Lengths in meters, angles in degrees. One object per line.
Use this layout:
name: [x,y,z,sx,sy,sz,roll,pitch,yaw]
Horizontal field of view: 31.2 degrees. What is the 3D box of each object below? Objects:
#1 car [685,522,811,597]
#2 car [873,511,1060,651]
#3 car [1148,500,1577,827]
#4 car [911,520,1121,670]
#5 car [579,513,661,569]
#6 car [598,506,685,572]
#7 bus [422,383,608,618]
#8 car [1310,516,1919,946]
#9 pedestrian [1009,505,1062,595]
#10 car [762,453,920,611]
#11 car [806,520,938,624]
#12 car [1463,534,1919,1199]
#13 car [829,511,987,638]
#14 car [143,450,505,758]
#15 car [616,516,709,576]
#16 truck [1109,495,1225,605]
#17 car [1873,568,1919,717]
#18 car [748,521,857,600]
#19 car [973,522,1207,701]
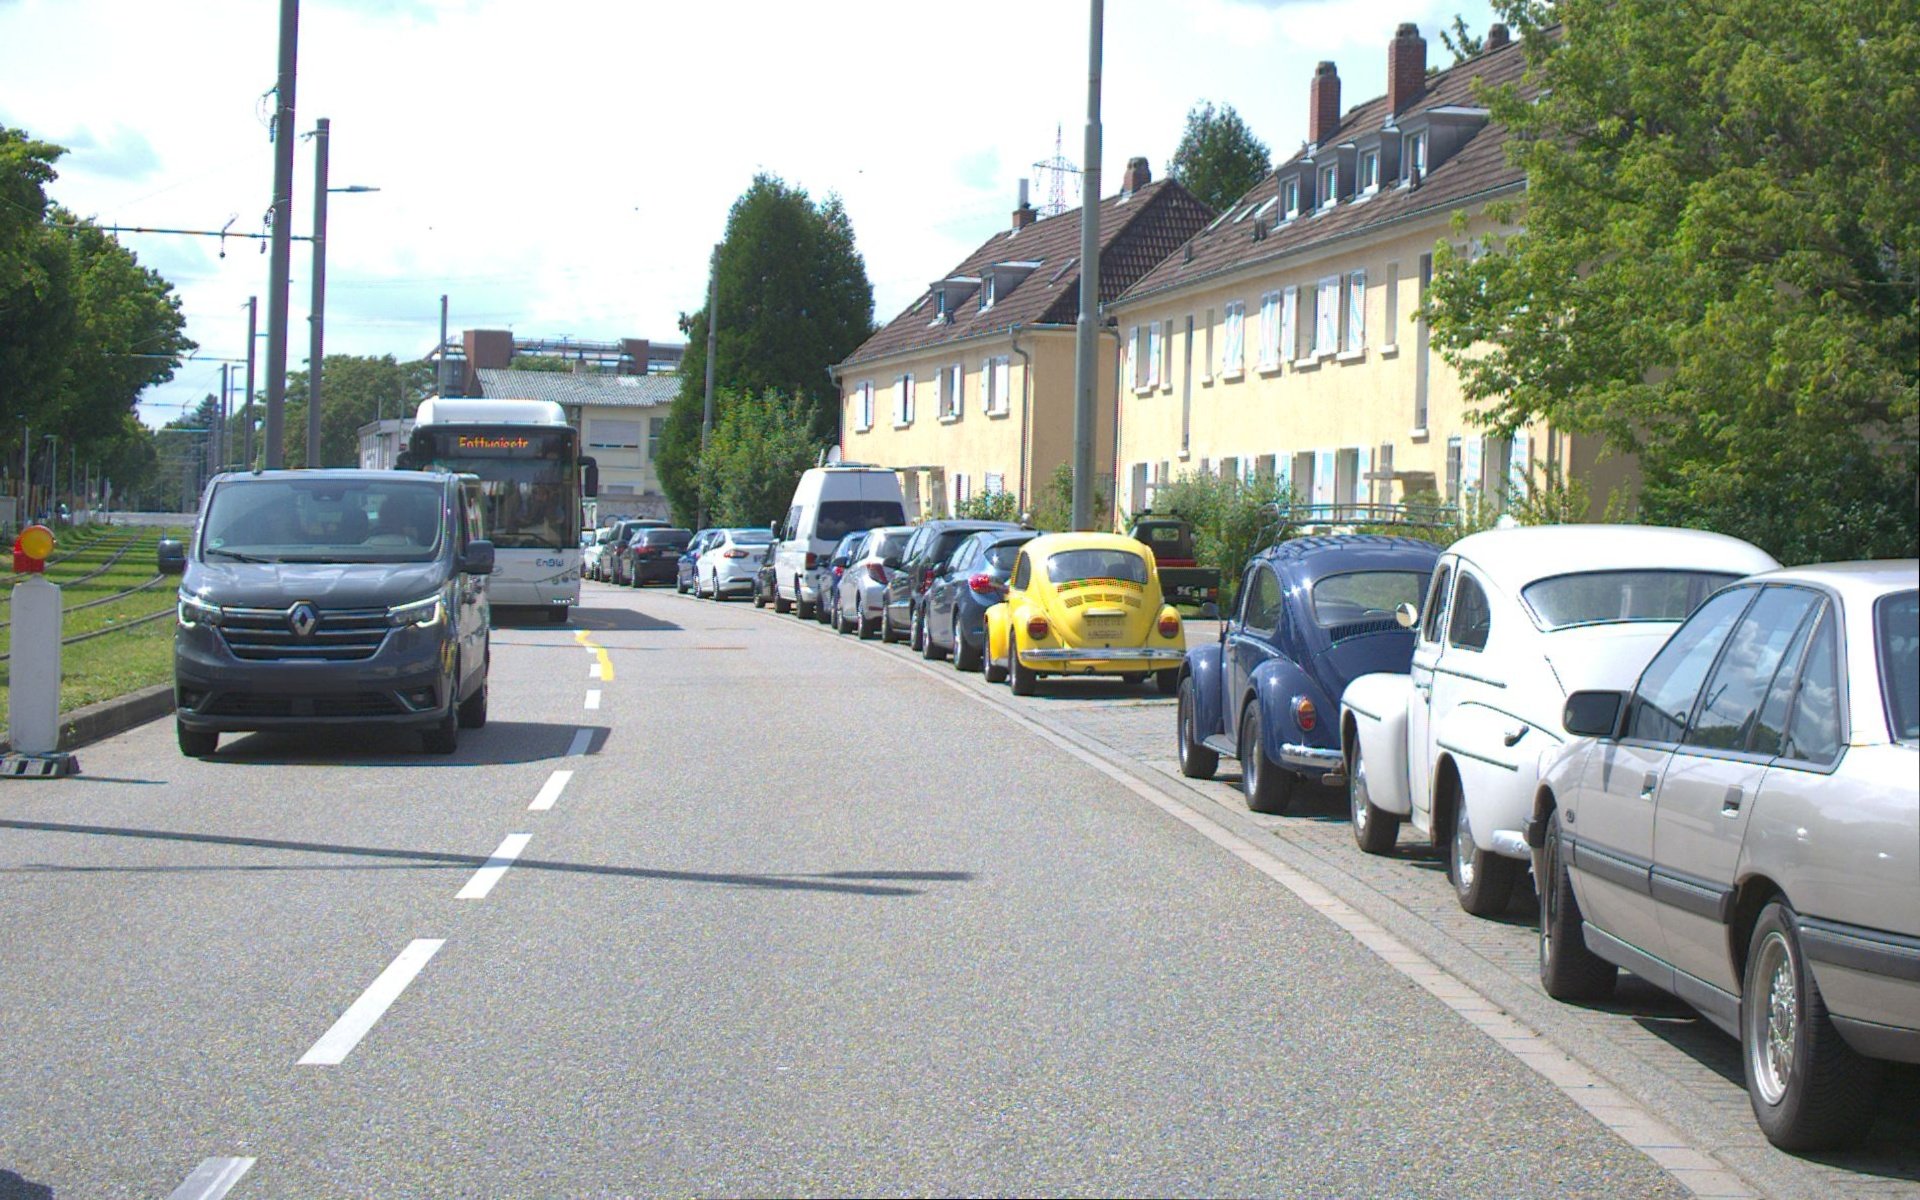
car: [-4.320,-0.825,69.439,1.798,1.453,4.767,0,1,-13]
car: [0.031,-0.273,42.861,1.636,1.597,3.933,2,1,-10]
car: [2.185,0.279,19.762,1.548,1.635,4.247,2,1,-5]
car: [0.551,-0.099,37.448,1.636,1.477,4.125,2,1,-8]
car: [-9.268,-1.626,93.424,1.763,1.471,4.001,0,2,-12]
car: [-8.230,-1.588,88.617,1.763,1.637,4.001,0,2,-12]
bus: [-7.430,-1.608,56.164,2.635,3.400,12.252,0,2,-9]
car: [2.613,0.424,14.636,1.577,1.507,4.460,2,1,-2]
pedestrian: [1.412,-0.935,64.468,0.853,1.646,0.637,2,1,-7]
car: [-2.028,-1.136,56.890,1.929,2.472,5.519,1,1,-9]
car: [-1.352,-0.448,51.579,1.536,1.440,3.738,2,1,-8]
car: [2.717,0.574,9.541,1.706,1.444,4.836,2,1,-2]
car: [-0.754,-0.380,46.873,1.636,1.597,4.030,2,1,-8]
car: [-4.450,-0.037,24.813,1.955,1.959,5.294,1,1,-4]
car: [-7.246,-1.335,83.536,1.763,1.412,4.001,0,2,-12]
truck: [3.302,-0.804,55.179,1.346,1.683,2.442,1,1,-8]
car: [9.651,0.434,31.271,1.636,1.350,4.088,2,1,1]
car: [-2.854,-0.713,61.723,1.340,1.336,3.289,2,0,-13]
car: [1.147,0.053,31.970,1.636,1.477,3.933,-1,2,-6]
